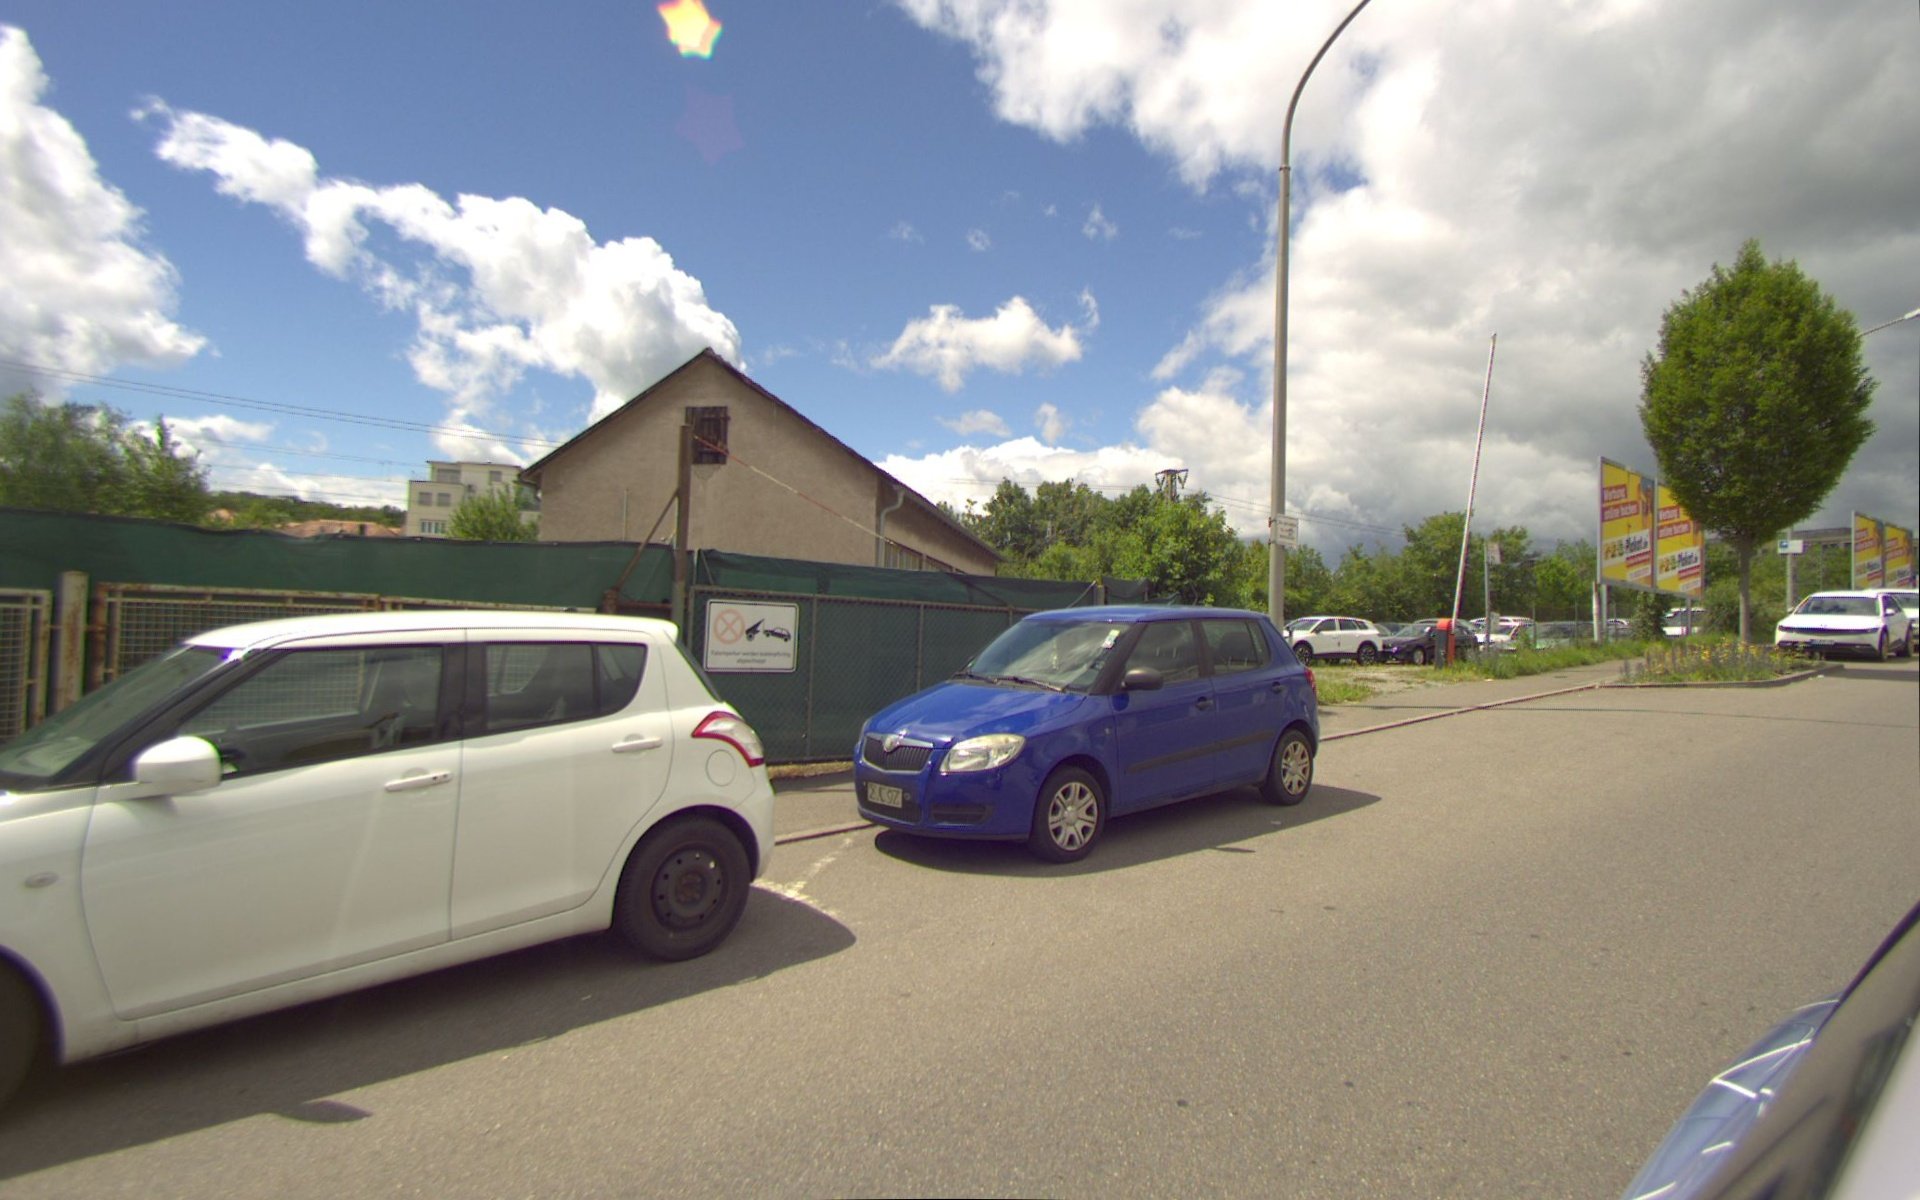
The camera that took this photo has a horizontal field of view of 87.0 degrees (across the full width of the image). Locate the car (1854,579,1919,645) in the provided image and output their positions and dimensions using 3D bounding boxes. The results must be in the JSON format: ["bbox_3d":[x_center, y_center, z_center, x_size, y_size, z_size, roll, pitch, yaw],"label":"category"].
[{"bbox_3d":[25.726,0.273,27.342,4.400,1.680,1.689,-1,1,-40],"label":"car"}]

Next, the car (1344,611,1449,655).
[{"bbox_3d":[17.953,1.311,41.825,1.758,1.632,4.008,0,1,-18],"label":"car"}]

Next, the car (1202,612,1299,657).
[{"bbox_3d":[10.914,1.257,38.336,1.753,1.407,4.197,0,2,-12],"label":"car"}]

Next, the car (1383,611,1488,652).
[{"bbox_3d":[20.240,1.314,43.224,1.784,1.578,4.008,0,1,-18],"label":"car"}]

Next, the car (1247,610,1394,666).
[{"bbox_3d":[12.111,1.246,33.983,4.581,1.706,1.759,1,1,-21],"label":"car"}]

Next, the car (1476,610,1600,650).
[{"bbox_3d":[25.127,1.253,44.184,1.958,1.574,4.470,0,1,-21],"label":"car"}]

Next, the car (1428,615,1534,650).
[{"bbox_3d":[22.539,1.363,43.956,1.719,1.347,4.008,0,1,-18],"label":"car"}]

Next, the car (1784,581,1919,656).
[{"bbox_3d":[21.102,0.359,23.718,4.384,1.584,1.847,-1,2,-38],"label":"car"}]

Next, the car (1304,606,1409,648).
[{"bbox_3d":[15.895,1.046,40.764,1.707,1.407,4.053,0,2,-18],"label":"car"}]

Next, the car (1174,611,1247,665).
[{"bbox_3d":[7.153,1.067,29.191,1.716,1.408,4.030,1,-1,10],"label":"car"}]

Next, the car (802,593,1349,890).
[{"bbox_3d":[1.017,0.729,7.208,4.022,1.529,1.569,-1,0,-41],"label":"car"}]

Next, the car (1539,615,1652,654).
[{"bbox_3d":[25.363,1.347,40.379,4.066,1.465,1.703,0,-1,-21],"label":"car"}]

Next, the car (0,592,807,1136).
[{"bbox_3d":[-2.618,0.745,4.041,3.725,1.529,1.595,-1,0,-42],"label":"car"}]

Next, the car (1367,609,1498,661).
[{"bbox_3d":[16.888,1.211,36.154,4.370,1.642,1.822,0,2,-24],"label":"car"}]

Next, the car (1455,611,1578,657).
[{"bbox_3d":[21.025,1.241,38.198,4.487,1.536,1.760,0,2,-26],"label":"car"}]
